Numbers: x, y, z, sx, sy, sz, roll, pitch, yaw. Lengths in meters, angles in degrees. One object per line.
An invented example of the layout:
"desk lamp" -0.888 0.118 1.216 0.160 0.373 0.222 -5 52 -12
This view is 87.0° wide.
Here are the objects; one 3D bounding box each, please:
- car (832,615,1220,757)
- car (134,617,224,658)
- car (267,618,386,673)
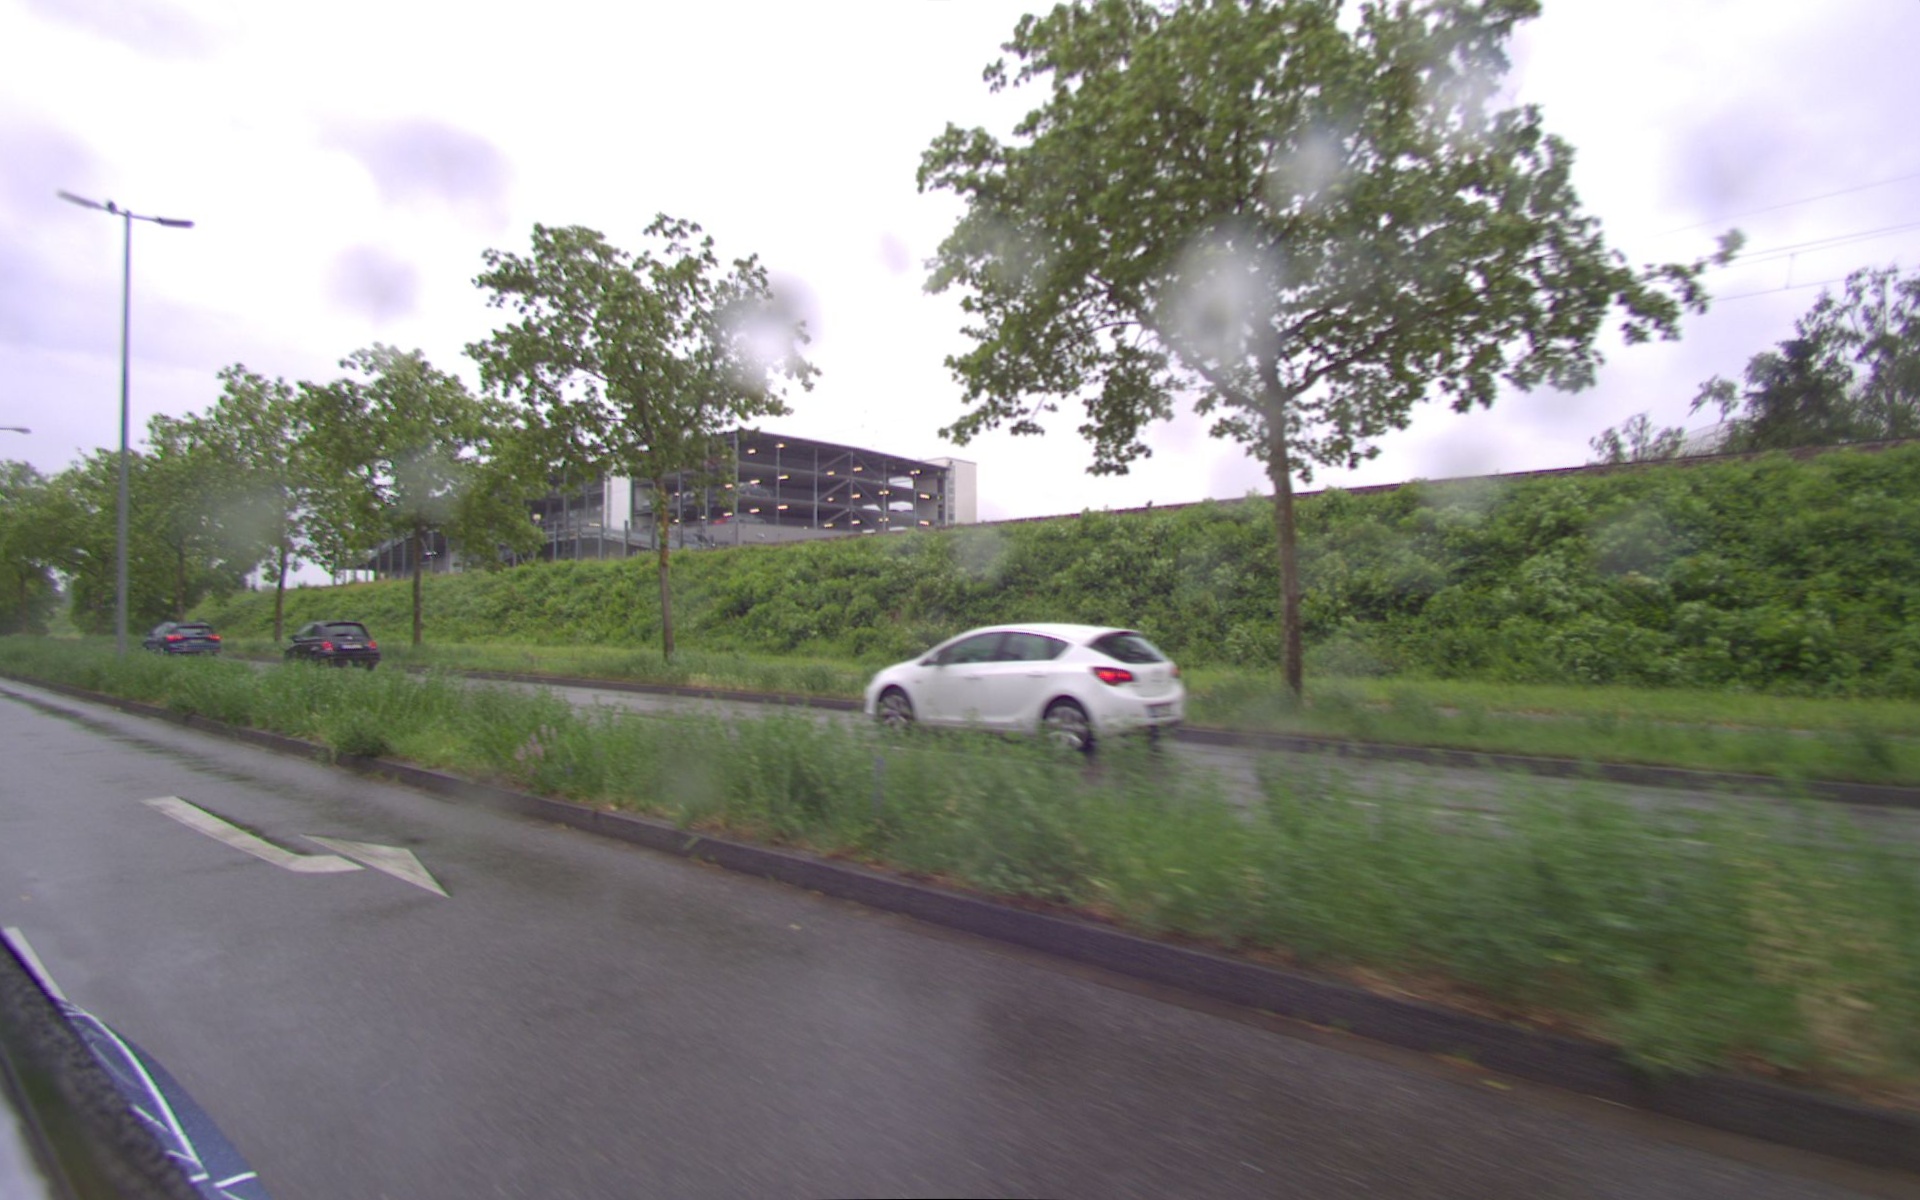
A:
"car" 0.672 0.924 12.672 4.654 1.456 1.911 -1 -1 41
"car" -30.276 1.414 39.191 4.494 1.456 1.911 -1 -1 41
"car" -18.140 1.243 28.935 3.705 1.456 1.911 -1 -1 41
